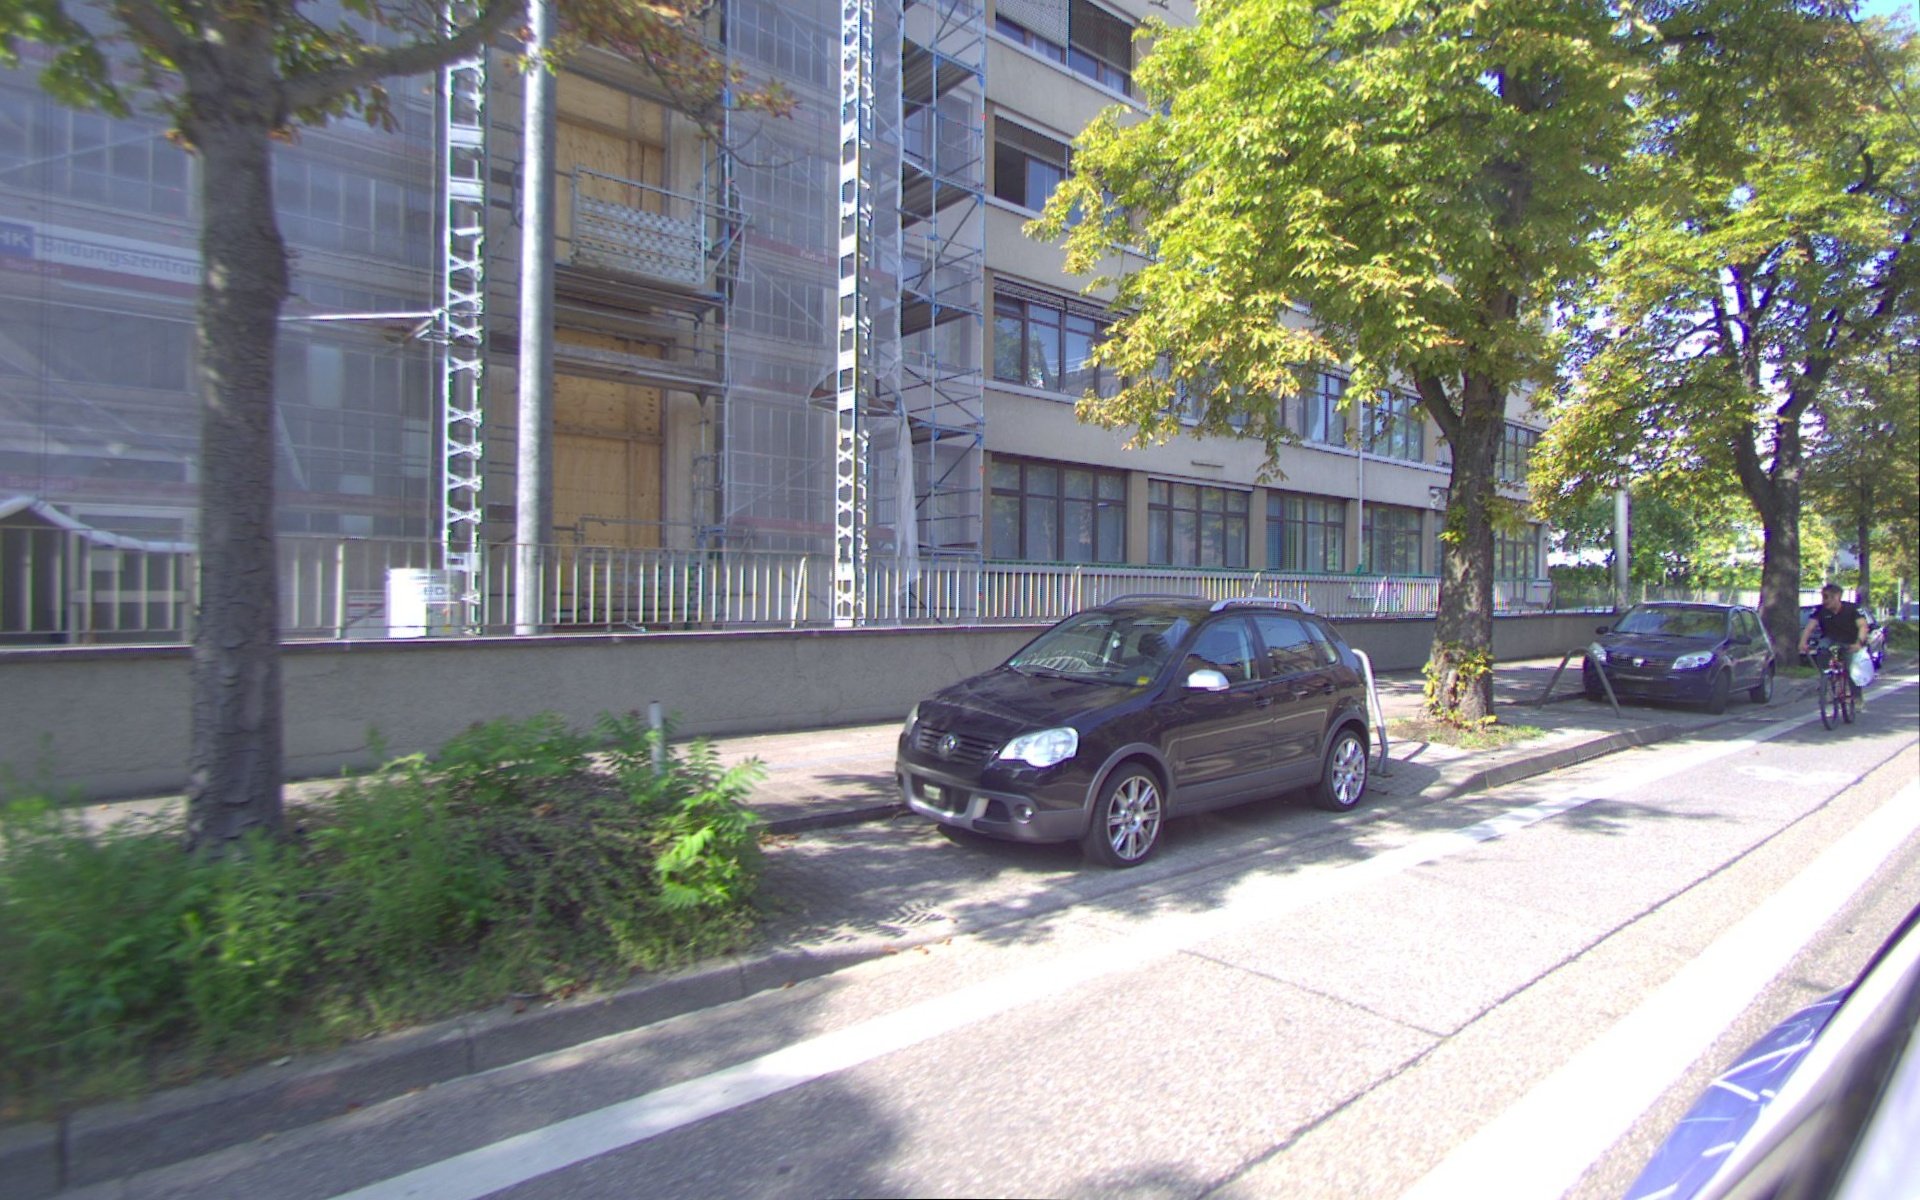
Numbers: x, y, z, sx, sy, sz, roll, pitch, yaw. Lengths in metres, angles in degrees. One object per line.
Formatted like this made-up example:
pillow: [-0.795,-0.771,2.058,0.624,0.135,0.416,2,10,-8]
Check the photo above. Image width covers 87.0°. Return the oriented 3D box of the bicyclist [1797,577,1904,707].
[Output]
bicyclist: [10.781,0.471,12.256,1.096,1.488,0.789,0,0,-38]

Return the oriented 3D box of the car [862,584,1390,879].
car: [1.287,0.674,6.960,3.671,1.503,1.579,0,0,-40]

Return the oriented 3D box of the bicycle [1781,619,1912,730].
bicycle: [10.696,0.841,12.183,2.263,1.159,0.789,0,0,-38]

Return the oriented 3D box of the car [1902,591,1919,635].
car: [33.723,0.424,34.760,3.920,1.447,1.643,-1,2,-42]

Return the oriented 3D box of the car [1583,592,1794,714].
car: [10.917,0.678,15.087,3.711,1.529,1.650,0,2,-40]

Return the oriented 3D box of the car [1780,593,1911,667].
car: [19.920,0.602,22.712,4.014,1.446,1.649,0,3,-41]
